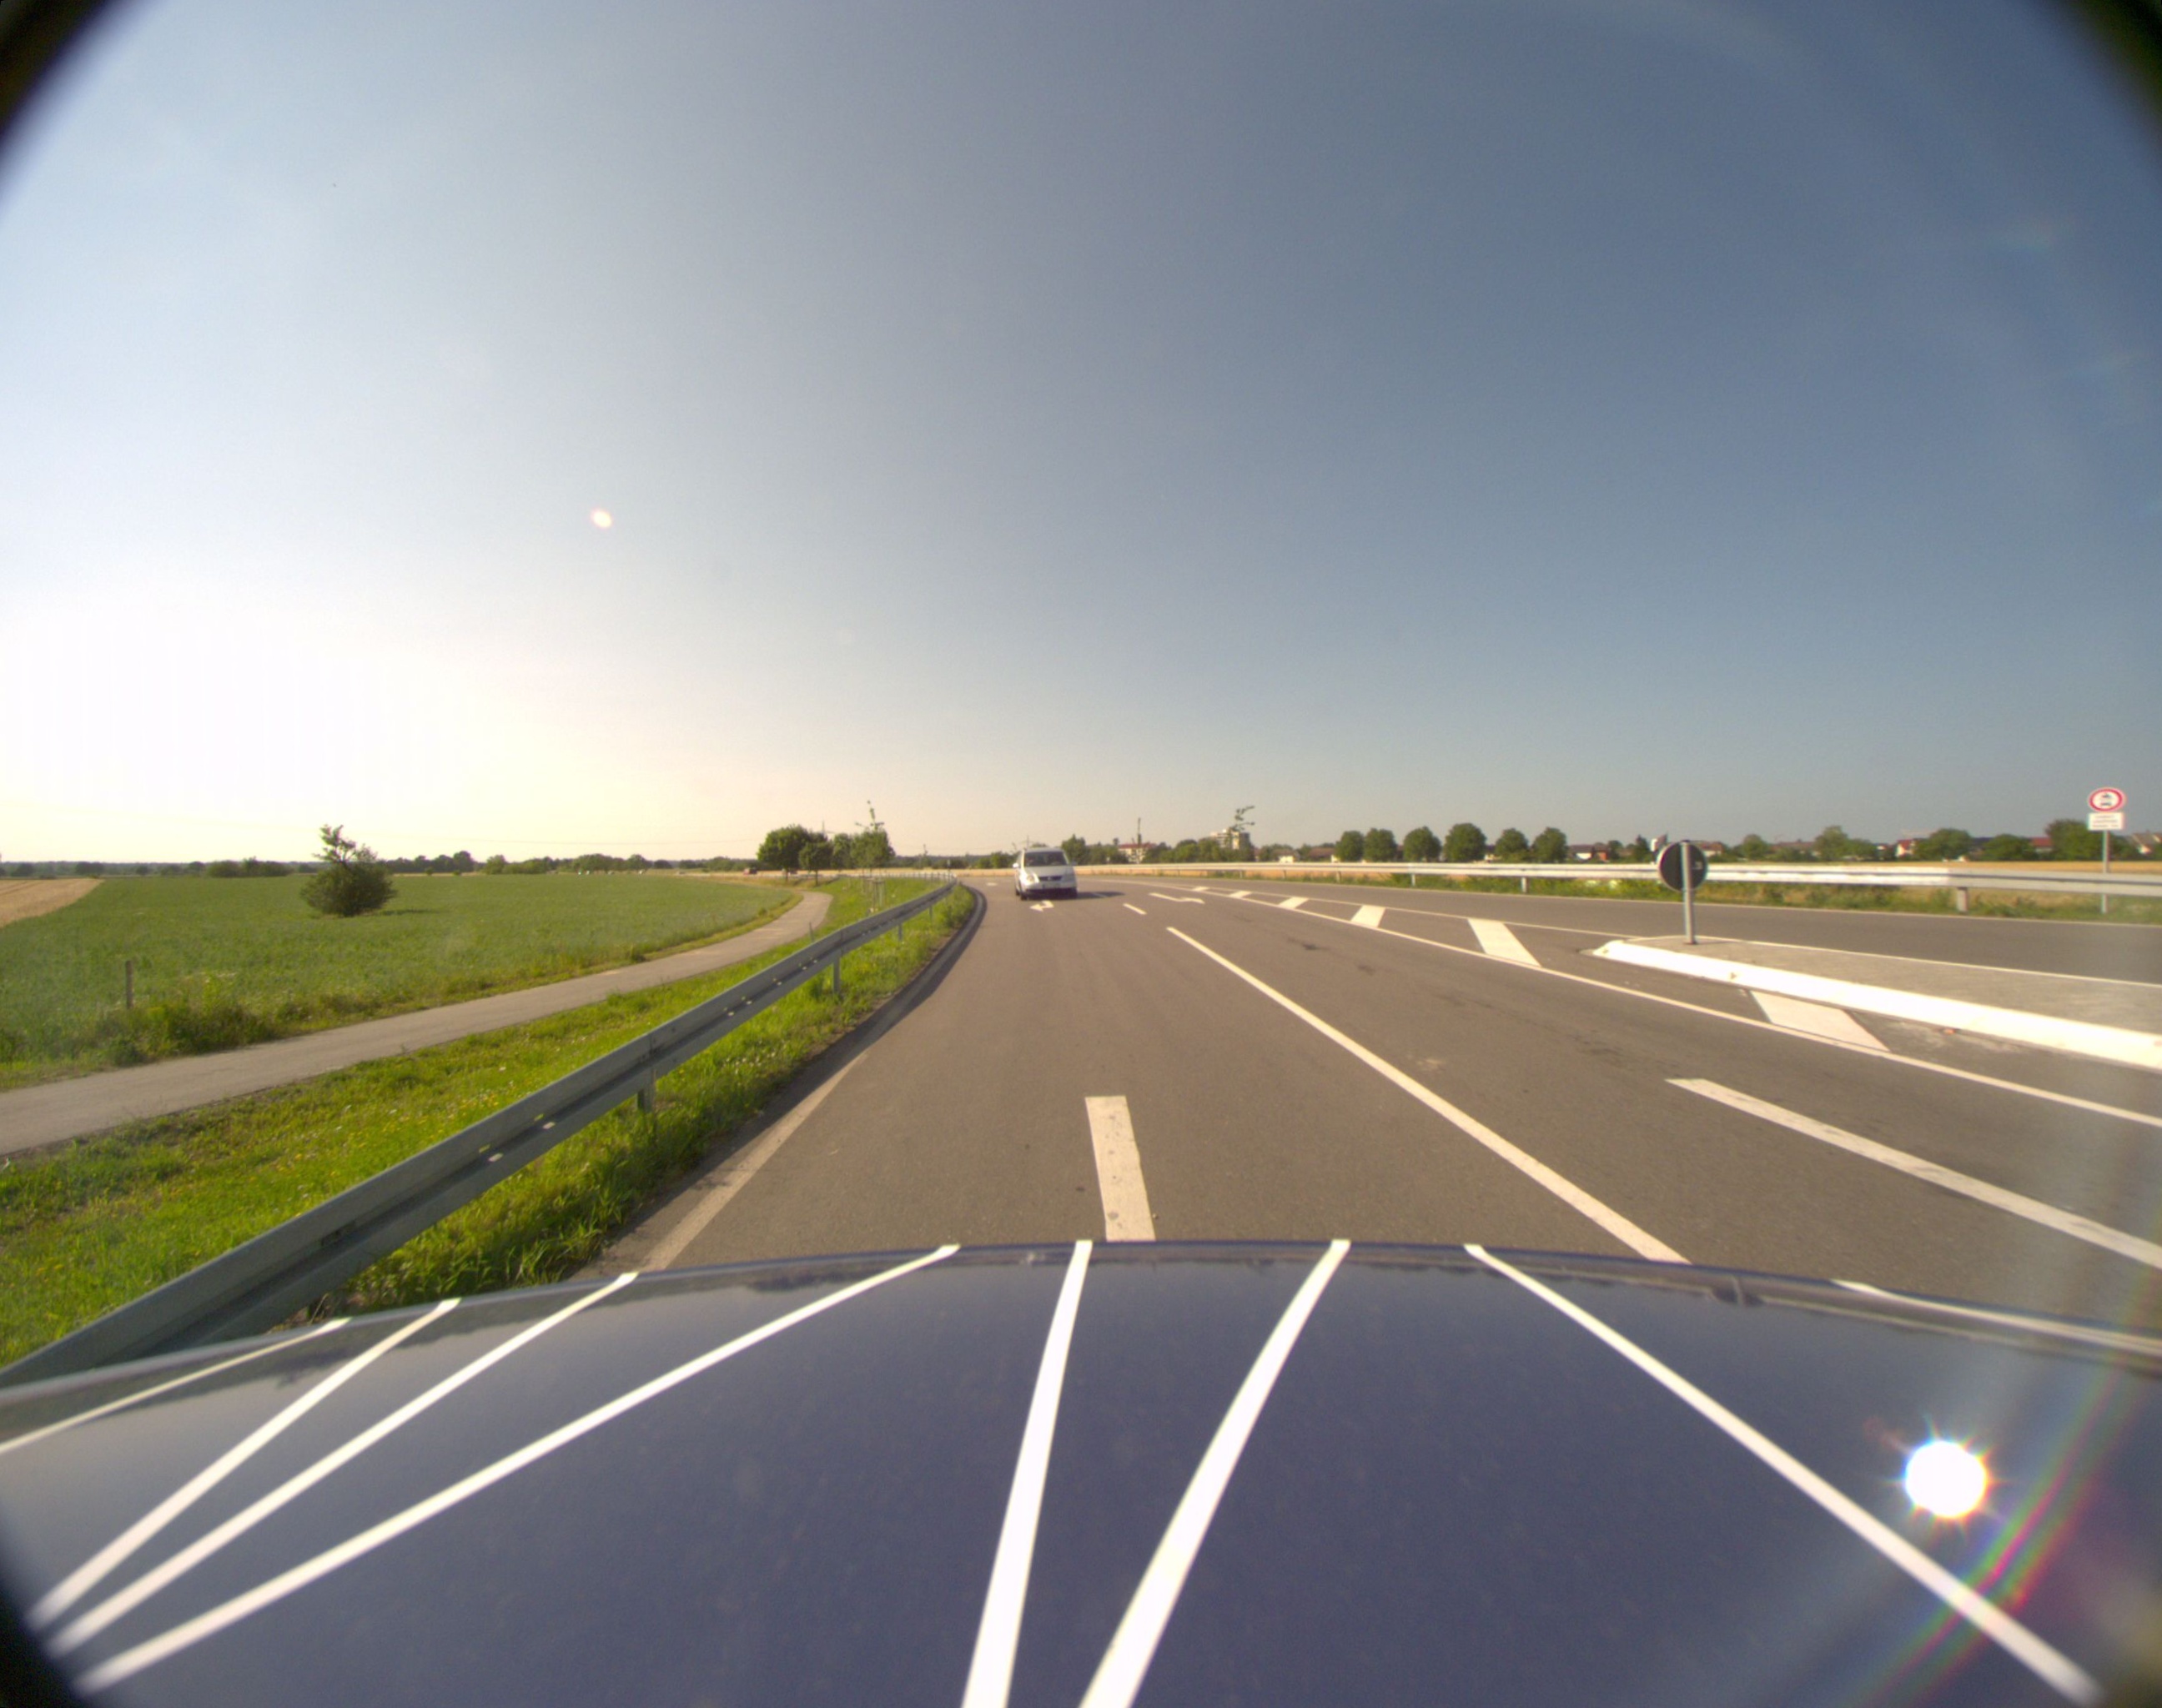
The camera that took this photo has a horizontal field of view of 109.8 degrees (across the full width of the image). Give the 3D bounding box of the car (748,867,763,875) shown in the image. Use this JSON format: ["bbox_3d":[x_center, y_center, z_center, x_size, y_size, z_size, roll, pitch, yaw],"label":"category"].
[{"bbox_3d":[-71.473,3.800,166.712,1.818,1.663,3.989,-3,1,-40],"label":"car"}]

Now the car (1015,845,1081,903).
[{"bbox_3d":[-1.168,0.584,24.830,1.756,1.685,4.212,-2,1,-7],"label":"car"}]
